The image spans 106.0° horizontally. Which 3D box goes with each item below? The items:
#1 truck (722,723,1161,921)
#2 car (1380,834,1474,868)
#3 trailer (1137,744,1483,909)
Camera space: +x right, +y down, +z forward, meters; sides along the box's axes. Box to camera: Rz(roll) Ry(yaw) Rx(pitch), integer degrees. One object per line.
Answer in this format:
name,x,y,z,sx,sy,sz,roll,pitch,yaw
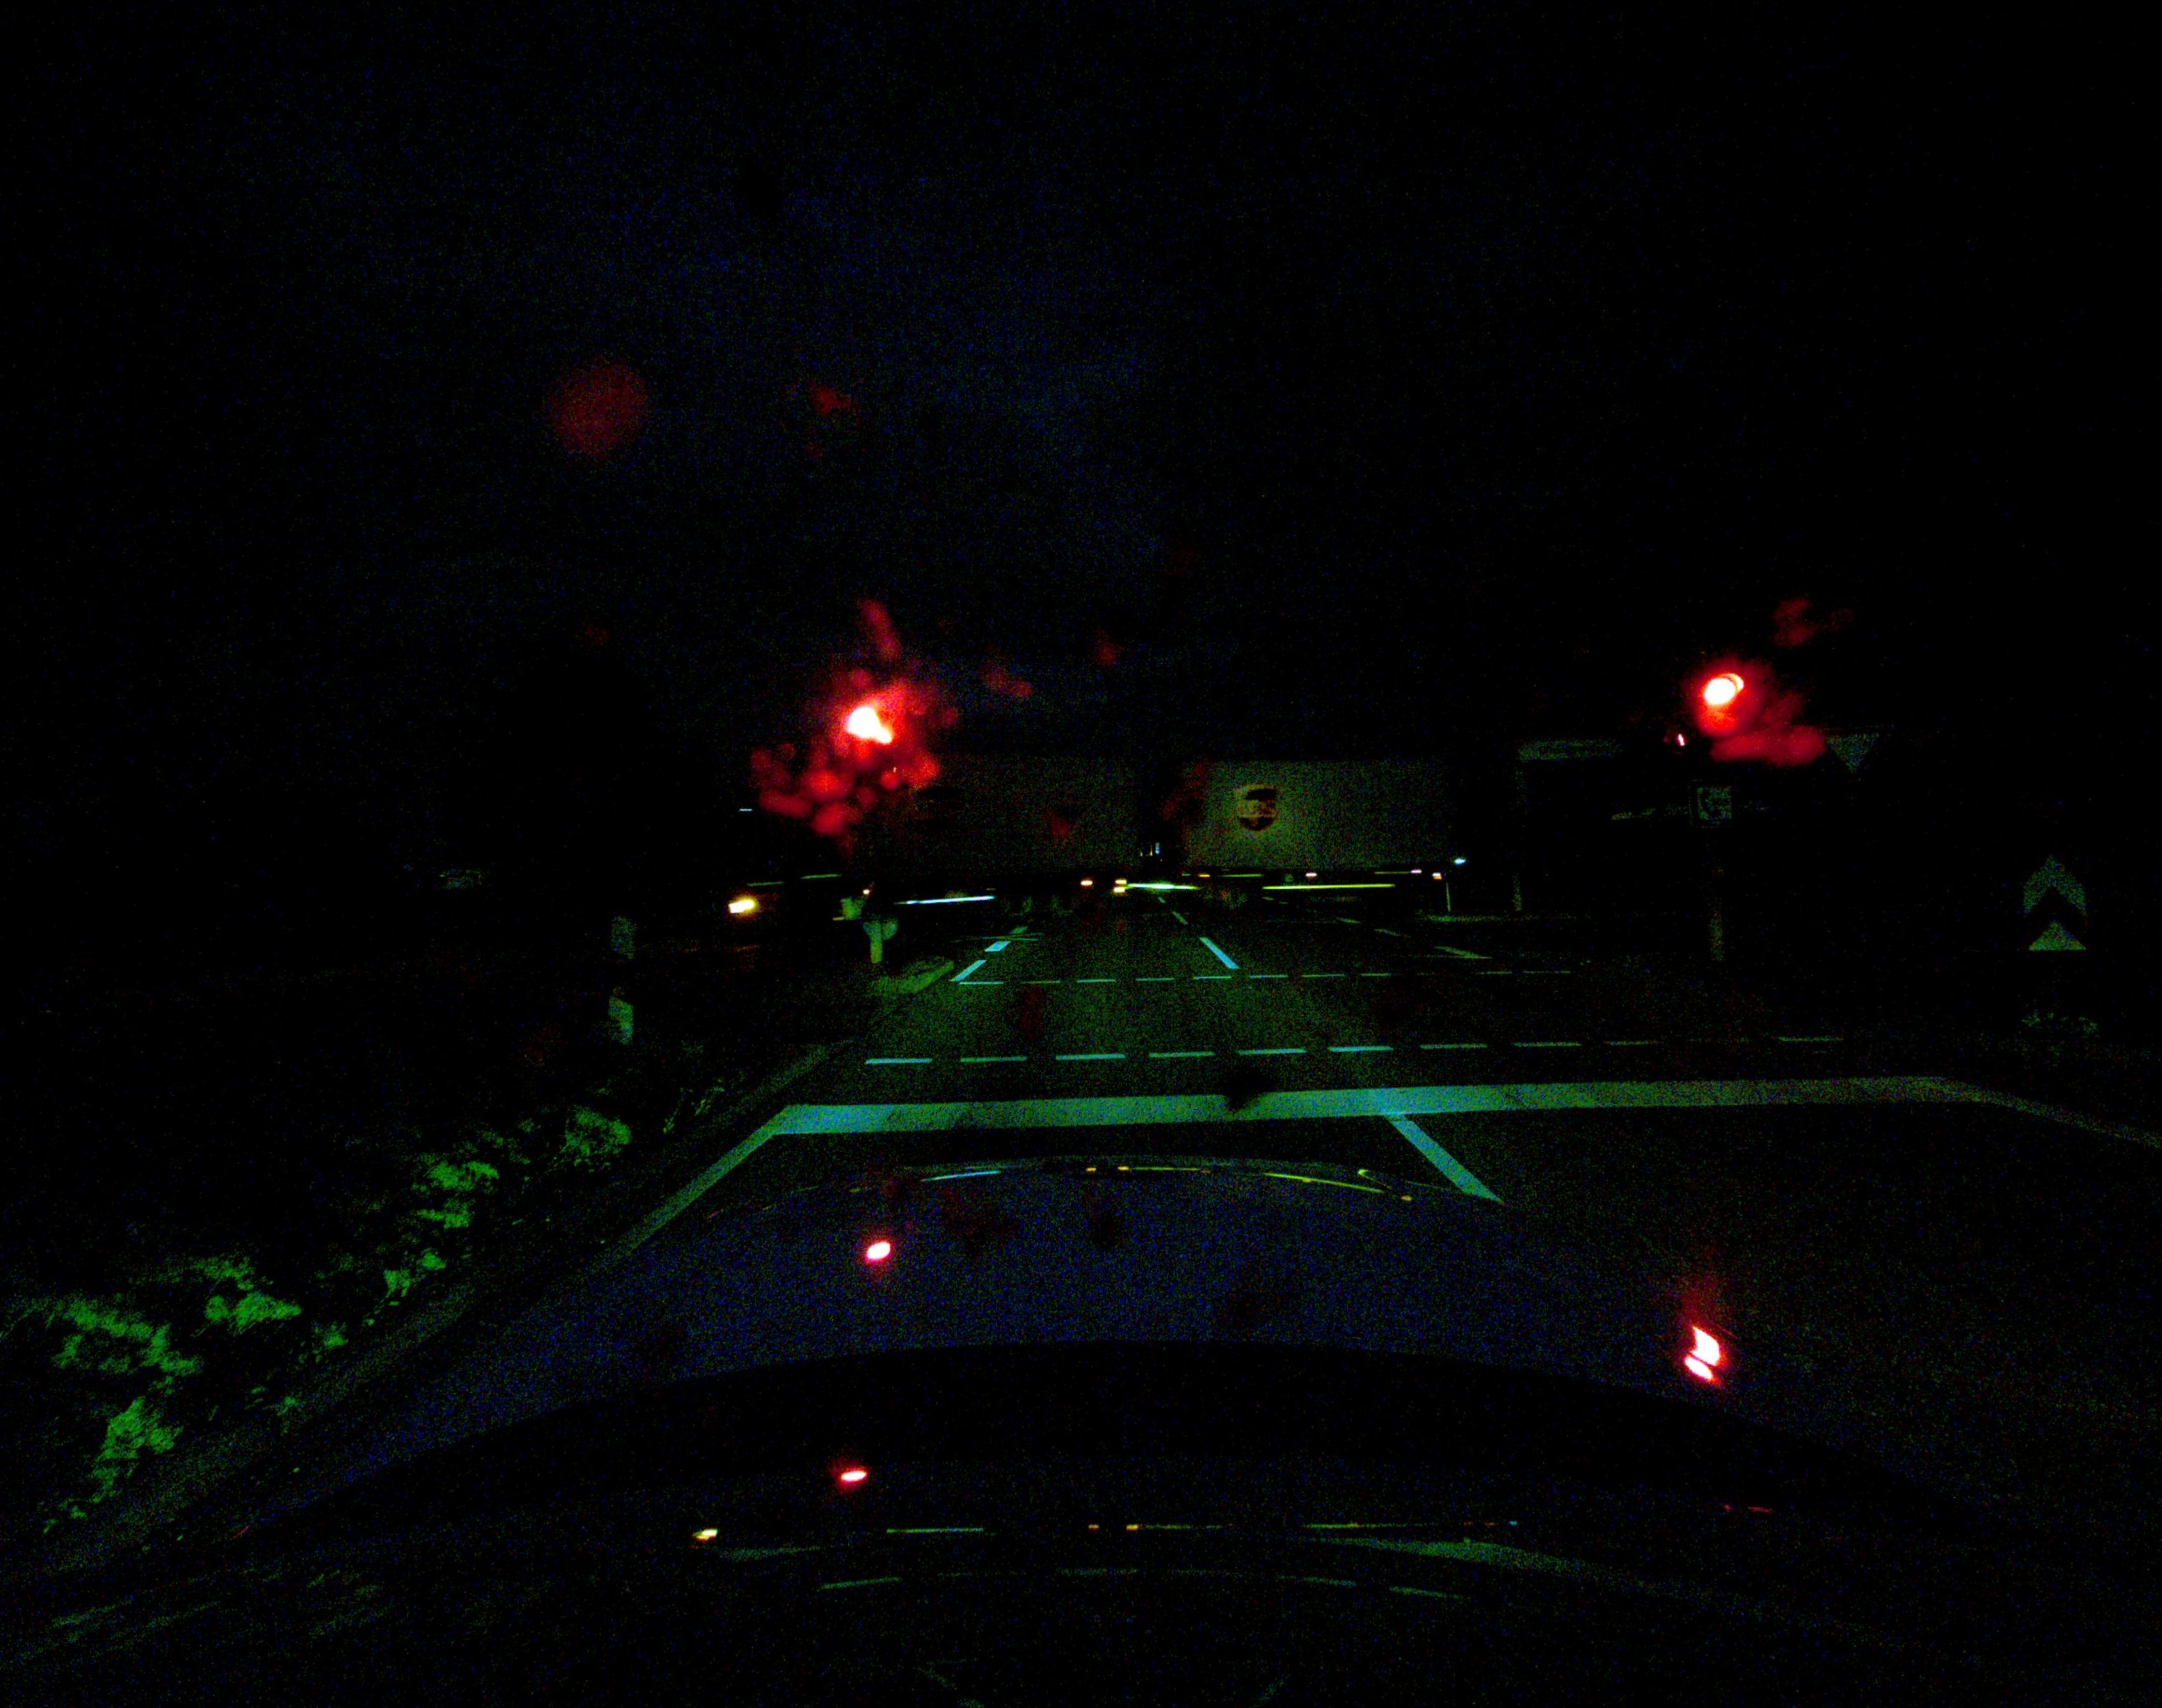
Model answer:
truck,-3.219,-0.756,20.257,10.361,4.117,2.712,-1,-1,-25
car,19.236,-0.143,45.325,4.419,1.664,2.013,-3,0,34
trailer,6.215,-0.768,22.755,8.836,3.943,2.580,-3,0,-6
